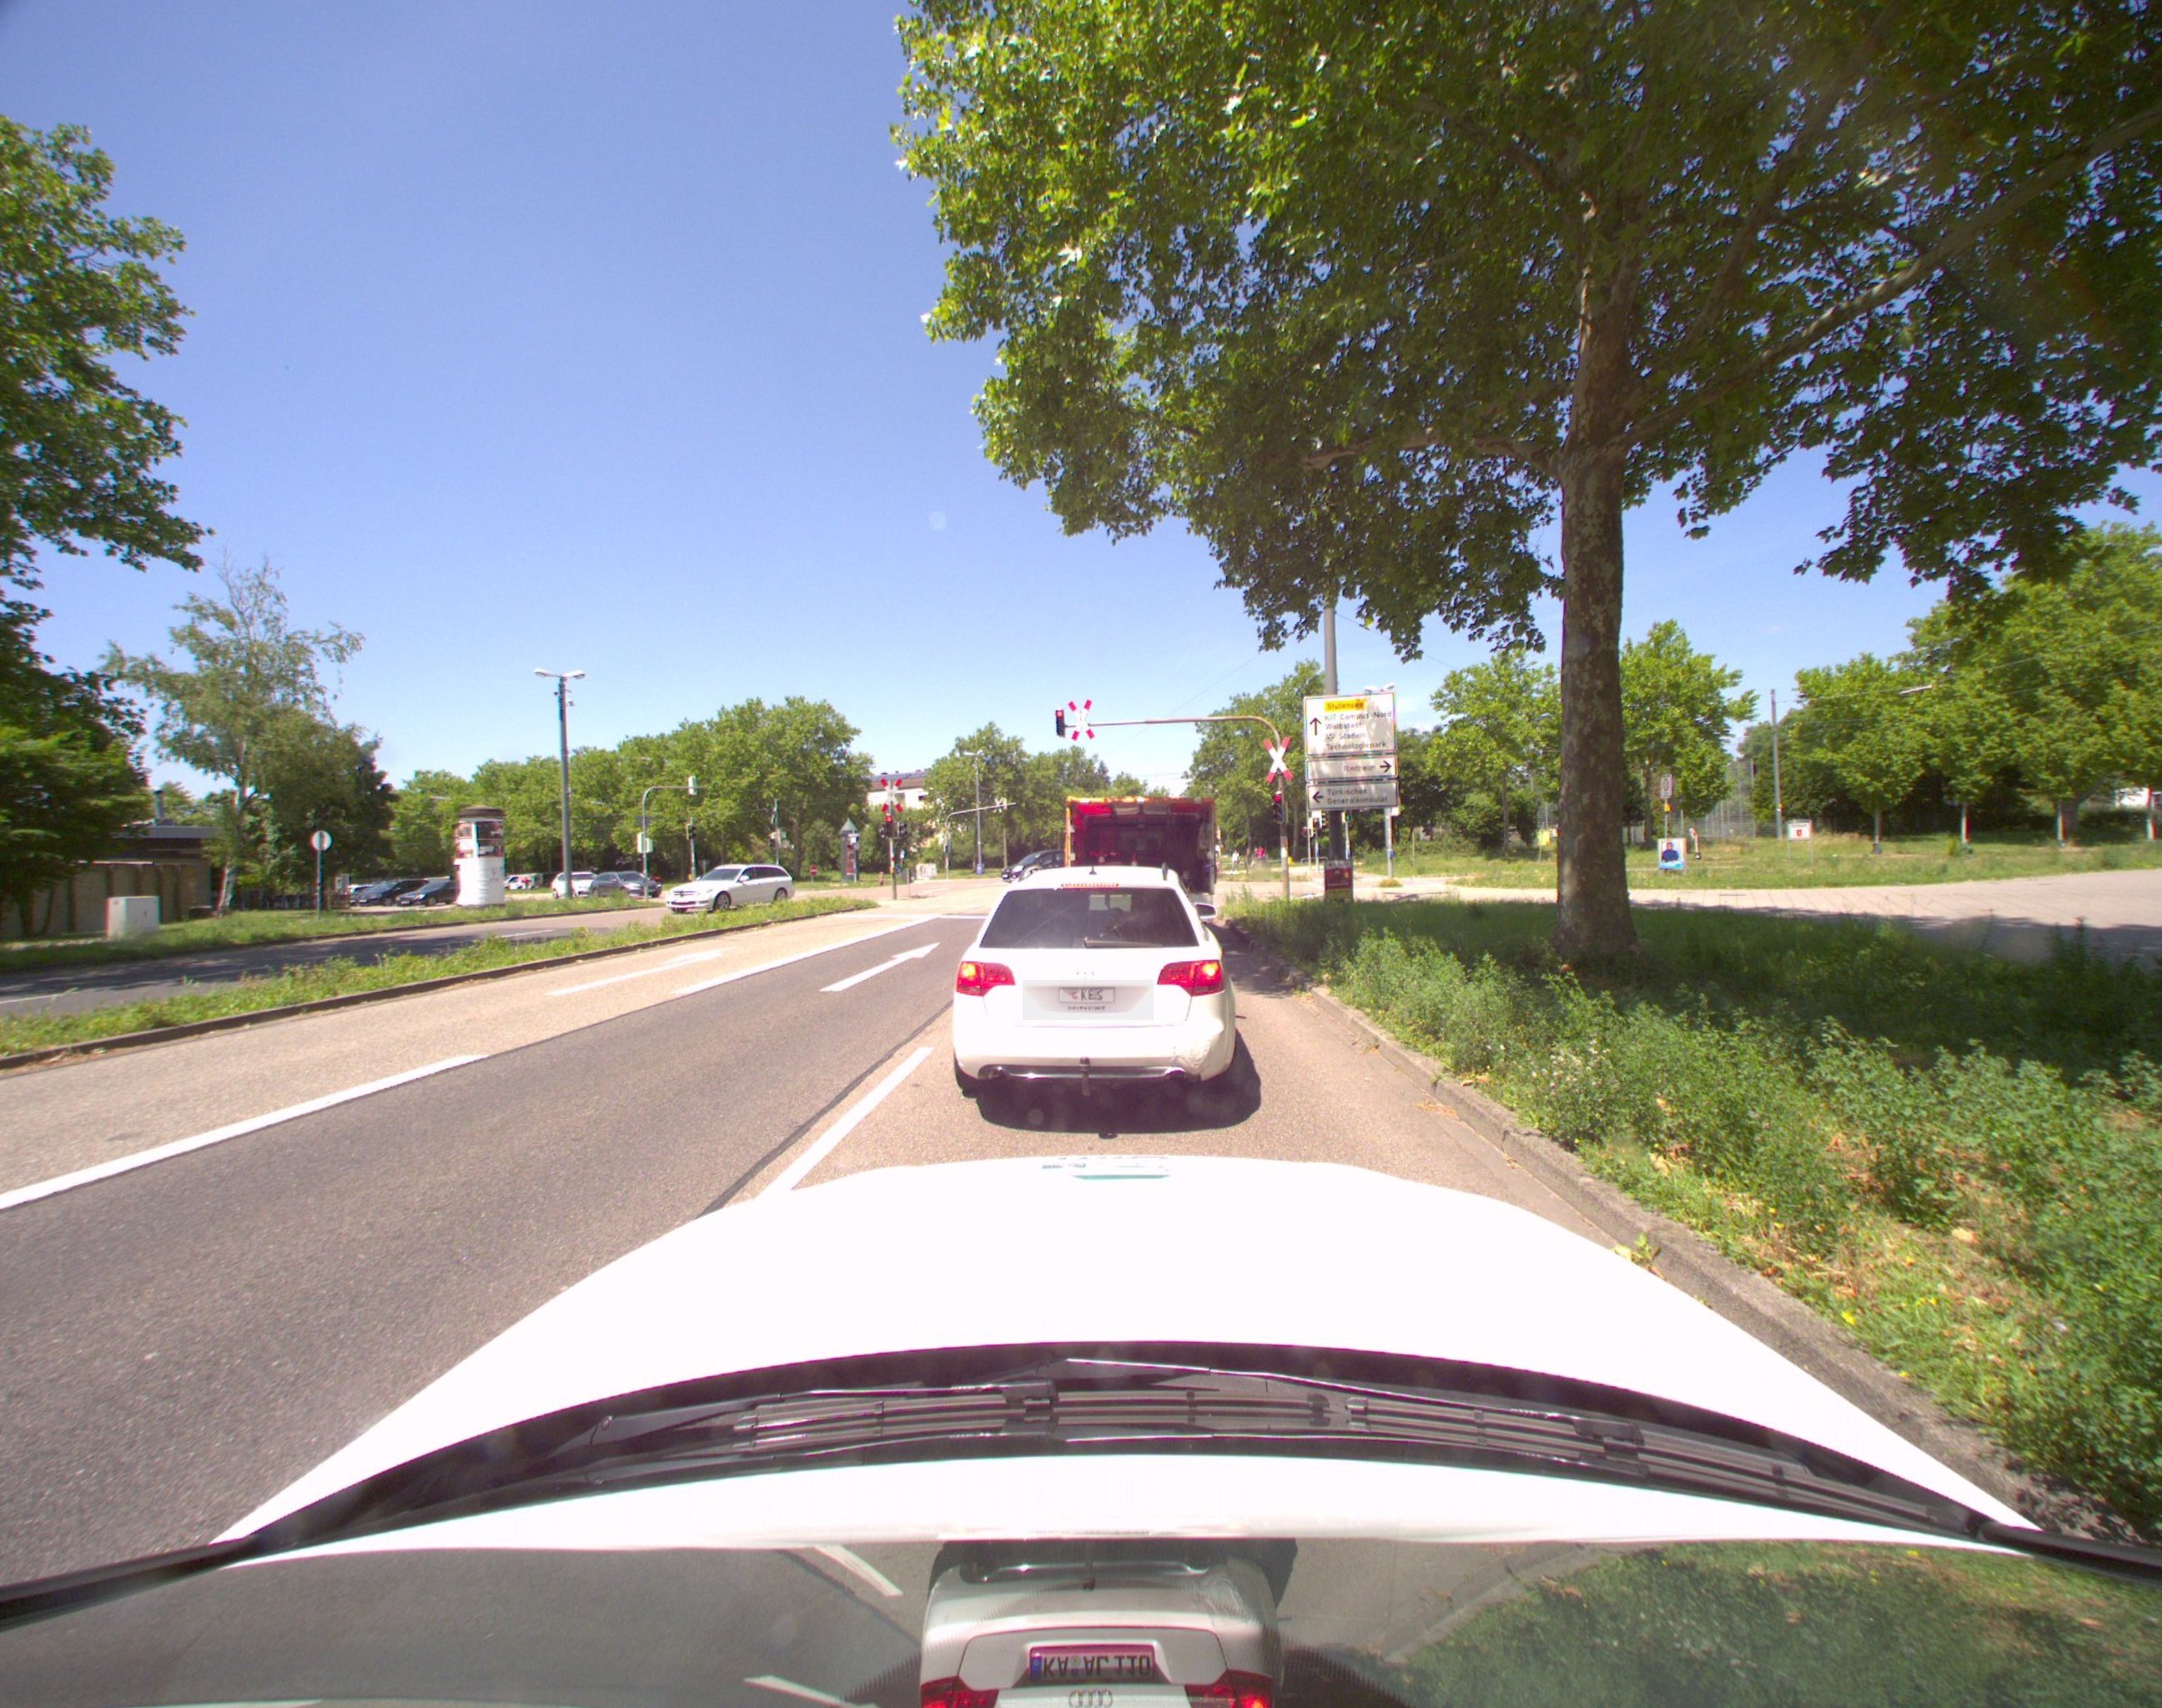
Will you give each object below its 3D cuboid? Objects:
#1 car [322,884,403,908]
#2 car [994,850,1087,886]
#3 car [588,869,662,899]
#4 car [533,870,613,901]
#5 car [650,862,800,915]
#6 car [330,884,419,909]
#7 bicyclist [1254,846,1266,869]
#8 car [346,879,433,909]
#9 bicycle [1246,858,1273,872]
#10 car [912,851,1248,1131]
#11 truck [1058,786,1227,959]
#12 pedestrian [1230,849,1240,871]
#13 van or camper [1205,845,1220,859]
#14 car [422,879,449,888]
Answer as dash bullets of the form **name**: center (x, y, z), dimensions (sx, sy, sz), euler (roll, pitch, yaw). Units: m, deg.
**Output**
- **car**: center (-51.831, 3.025, 58.841), dimensions (1.930, 1.423, 4.070), euler (-2, 0, 8)
- **car**: center (-2.080, 0.733, 42.634), dimensions (4.457, 1.679, 1.899), euler (-2, 0, -30)
- **car**: center (-24.076, 1.593, 42.937), dimensions (3.941, 1.457, 1.776), euler (-2, 0, 34)
- **car**: center (-29.314, 1.810, 46.990), dimensions (4.403, 1.604, 2.231), euler (-2, 0, 34)
- **car**: center (-11.277, 1.054, 26.210), dimensions (1.839, 1.418, 4.567), euler (-2, 0, 16)
- **car**: center (-47.506, 2.808, 54.895), dimensions (1.863, 1.412, 4.396), euler (-2, 0, 6)
- **bicyclist**: center (12.236, 0.253, 55.695), dimensions (0.667, 1.556, 0.581), euler (-2, 0, 9)
- **car**: center (-44.783, 2.555, 52.861), dimensions (1.769, 1.651, 4.201), euler (-2, 0, 6)
- **bicycle**: center (12.188, 0.740, 55.682), dimensions (1.795, 0.895, 0.590), euler (-2, 0, 9)
- **car**: center (0.169, 0.719, 6.088), dimensions (1.754, 1.445, 3.622), euler (-1, 0, 6)
- **truck**: center (1.249, 0.294, 15.952), dimensions (2.499, 2.559, 7.613), euler (0, 0, 5)
- **pedestrian**: center (11.041, 0.428, 58.319), dimensions (0.548, 1.484, 0.632), euler (-2, 0, 18)
- **van or camper**: center (32.243, -0.491, 199.390), dimensions (2.640, 3.331, 5.524), euler (-2, 0, 16)
- **car**: center (-88.146, 4.043, 111.225), dimensions (0.996, 0.994, 2.738), euler (-2, 0, 31)
